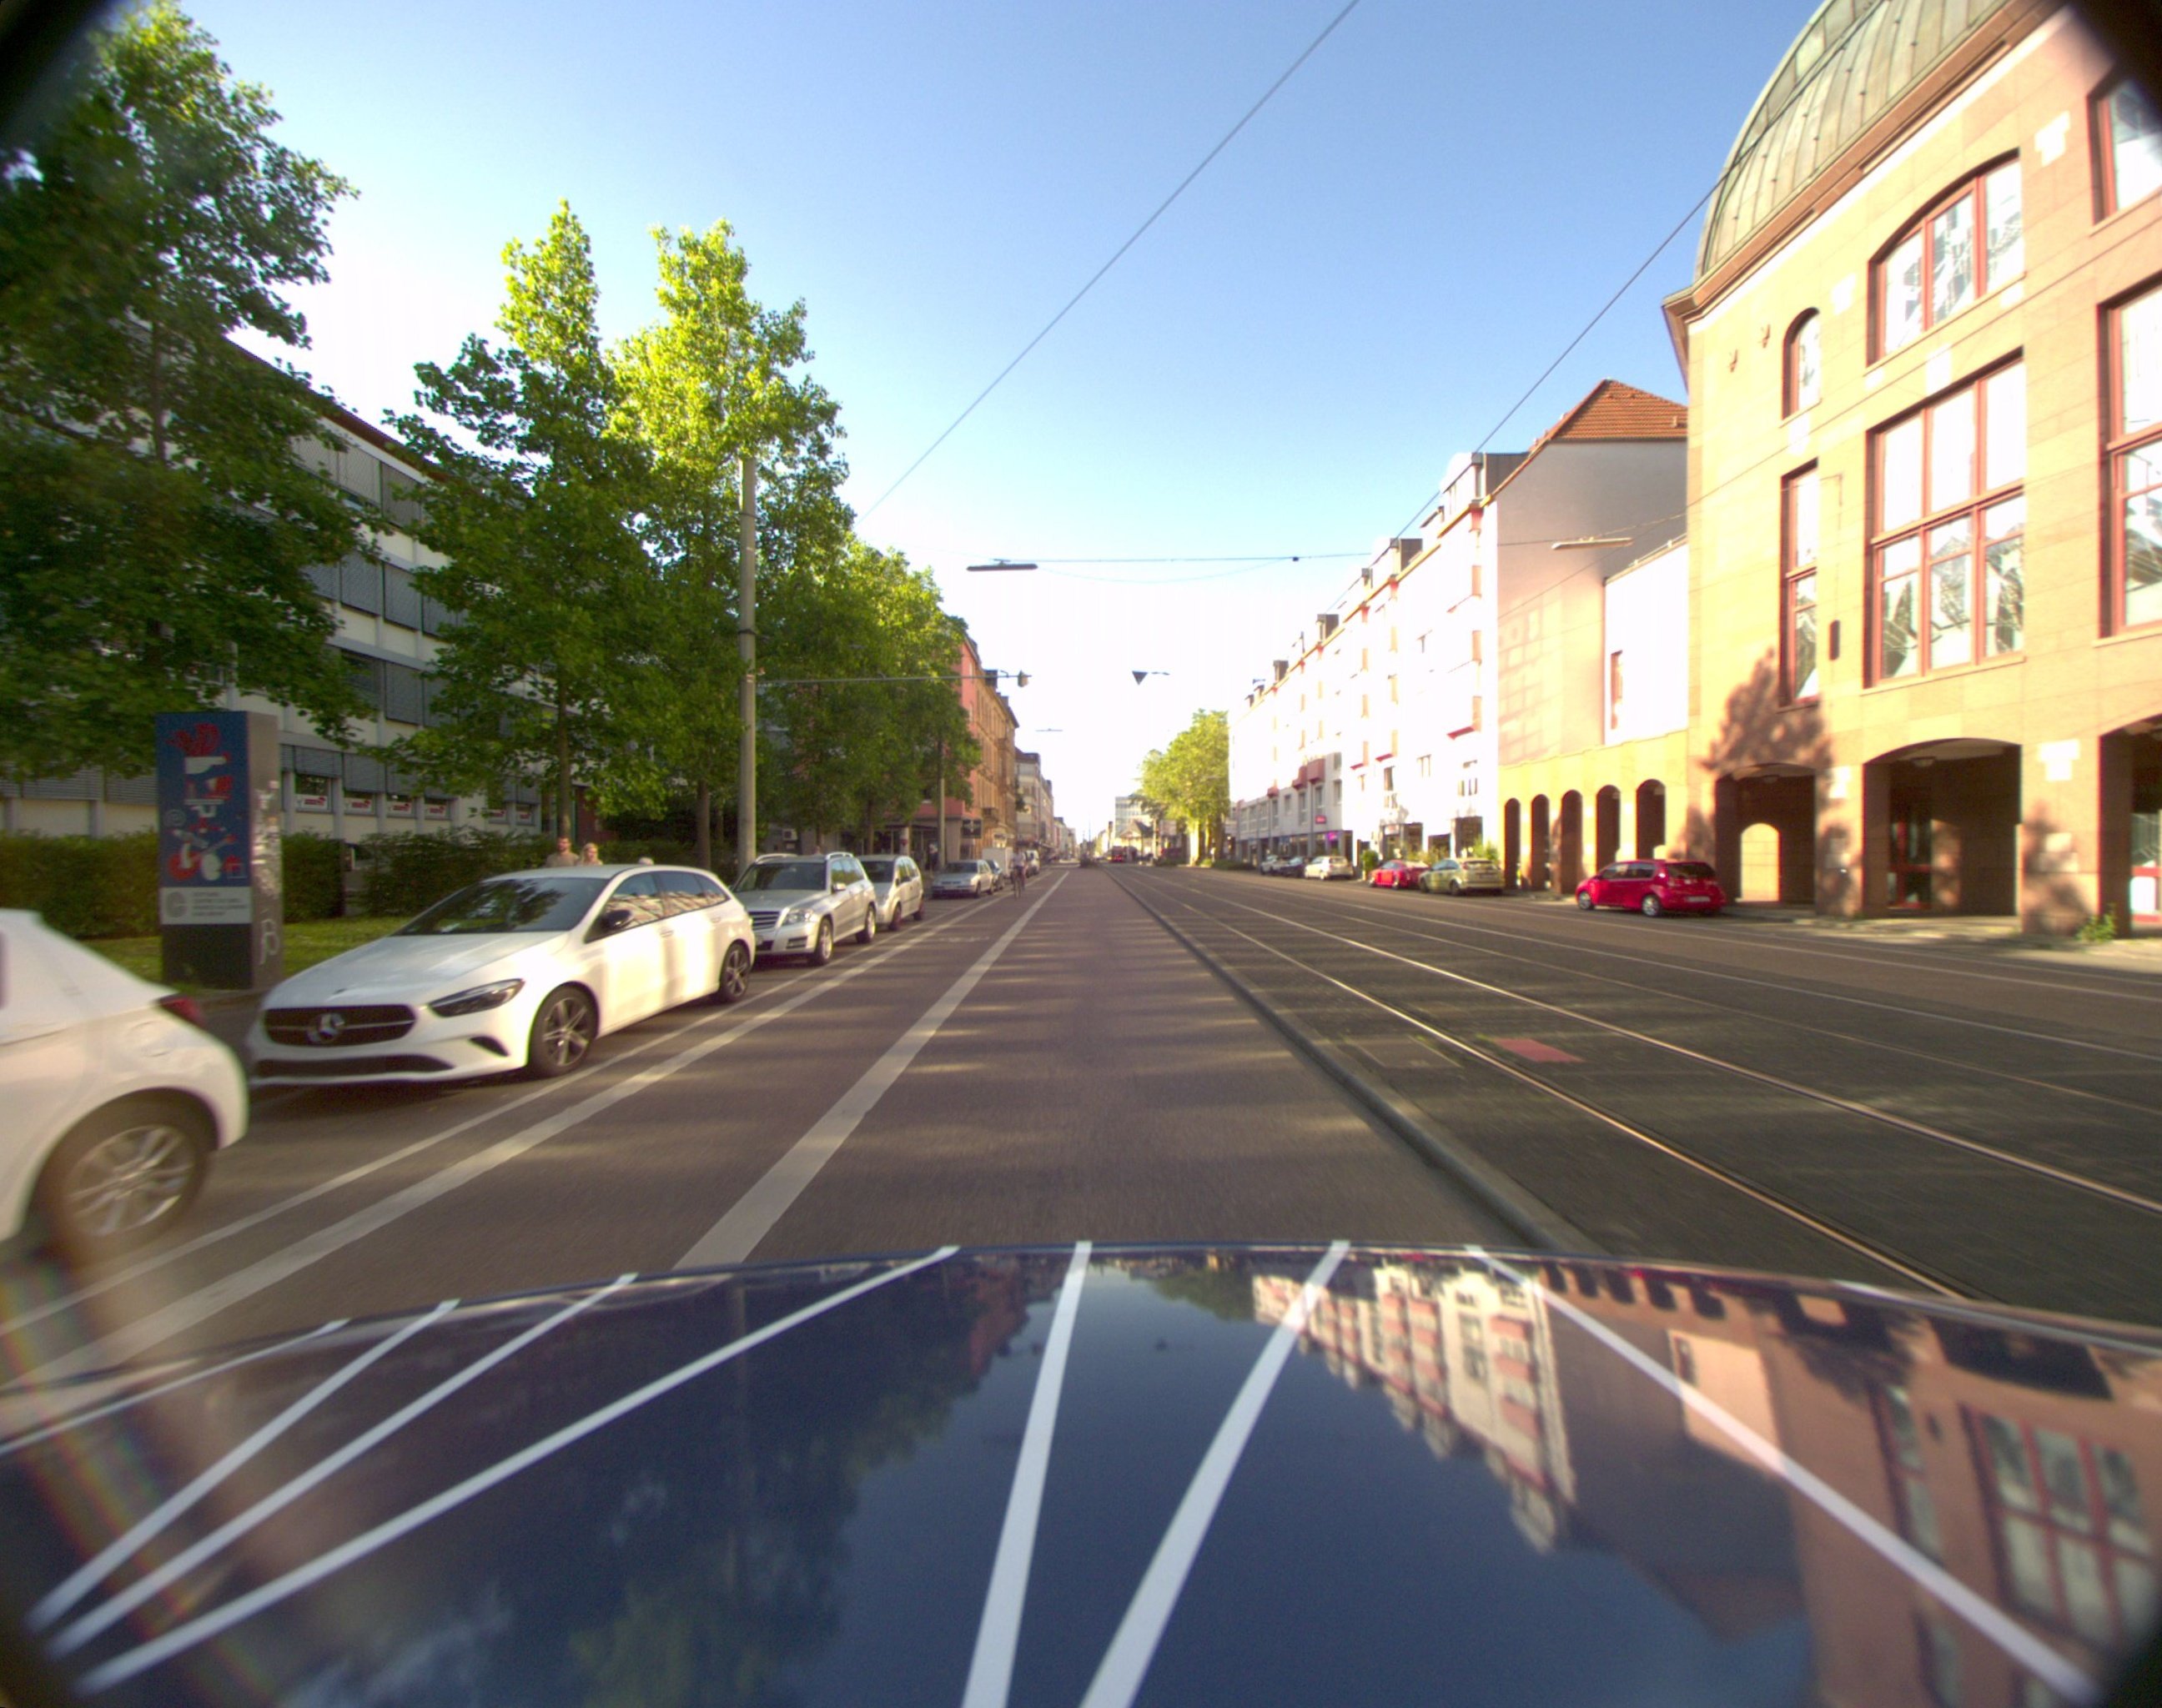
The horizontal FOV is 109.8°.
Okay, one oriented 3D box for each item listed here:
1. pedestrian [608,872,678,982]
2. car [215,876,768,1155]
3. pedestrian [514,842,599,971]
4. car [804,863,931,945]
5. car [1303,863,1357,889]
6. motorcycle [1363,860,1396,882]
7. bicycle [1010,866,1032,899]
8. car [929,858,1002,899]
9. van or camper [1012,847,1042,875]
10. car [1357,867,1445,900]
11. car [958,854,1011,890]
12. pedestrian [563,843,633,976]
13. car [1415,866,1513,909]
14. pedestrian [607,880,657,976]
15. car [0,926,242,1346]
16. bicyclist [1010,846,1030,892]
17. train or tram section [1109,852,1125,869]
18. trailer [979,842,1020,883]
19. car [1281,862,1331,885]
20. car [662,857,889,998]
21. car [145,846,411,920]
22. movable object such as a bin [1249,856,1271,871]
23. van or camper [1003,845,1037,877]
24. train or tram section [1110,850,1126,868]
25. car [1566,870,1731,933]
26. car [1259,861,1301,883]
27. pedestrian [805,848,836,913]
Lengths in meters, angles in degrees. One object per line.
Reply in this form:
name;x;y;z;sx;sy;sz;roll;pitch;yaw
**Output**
pedestrian;-6.316;1.030;10.979;0.643;1.523;0.625;0;0;4
car;-4.508;1.049;6.859;1.546;1.561;4.443;-2;0;-1
pedestrian;-8.073;0.781;11.717;0.670;1.886;0.748;3;0;6
car;-4.639;1.021;17.113;1.718;1.581;4.065;-2;-1;-1
car;15.107;1.306;46.371;1.756;1.466;4.207;-1;0;-2
motorcycle;16.571;0.963;42.250;0.462;1.187;2.079;-2;-1;-18
bicycle;-2.203;1.024;28.237;0.649;1.132;2.095;-2;0;-1
car;-4.368;0.906;29.320;1.753;1.434;4.317;-1;-1;5
van or camper;-4.173;0.485;59.334;1.936;2.025;5.475;-2;0;0
car;14.614;1.287;35.064;1.965;1.317;4.821;-2;-1;-1
car;-4.247;0.781;34.093;1.807;1.426;4.323;-3;0;-1
pedestrian;-7.381;0.820;11.635;0.466;1.943;0.748;3;1;6
car;14.865;1.252;29.781;1.673;1.460;4.290;-2;0;0
pedestrian;-6.808;1.109;11.534;0.457;1.390;0.423;2;1;5
car;-4.677;1.086;1.561;1.606;1.435;3.884;-3;0;-2
bicyclist;-2.255;0.544;28.132;0.656;1.646;0.927;-1;0;-1
train or tram section;8.199;1.462;175.709;2.981;3.622;13.945;-2;-1;1
trailer;-4.449;0.467;41.934;1.665;2.104;3.843;-2;0;2
car;15.140;1.312;51.431;1.906;1.449;4.826;-1;0;0
car;-4.659;1.007;12.484;1.930;1.823;4.711;-2;-1;-2
car;-18.522;0.666;17.894;1.794;1.527;4.310;0;-2;-3
movable object such as a bin;24.050;1.252;102.092;2.644;2.002;1.177;-1;0;24
van or camper;-4.237;0.488;53.329;1.976;2.033;5.331;-2;0;-1
train or tram section;7.719;1.157;160.488;2.981;3.622;16.491;-2;-1;2
car;14.896;1.188;20.211;1.663;1.413;3.620;-2;0;0
car;15.284;1.336;58.645;1.922;1.604;4.369;-1;0;-2
pedestrian;-7.296;0.727;21.273;0.612;1.797;0.603;1;0;5
